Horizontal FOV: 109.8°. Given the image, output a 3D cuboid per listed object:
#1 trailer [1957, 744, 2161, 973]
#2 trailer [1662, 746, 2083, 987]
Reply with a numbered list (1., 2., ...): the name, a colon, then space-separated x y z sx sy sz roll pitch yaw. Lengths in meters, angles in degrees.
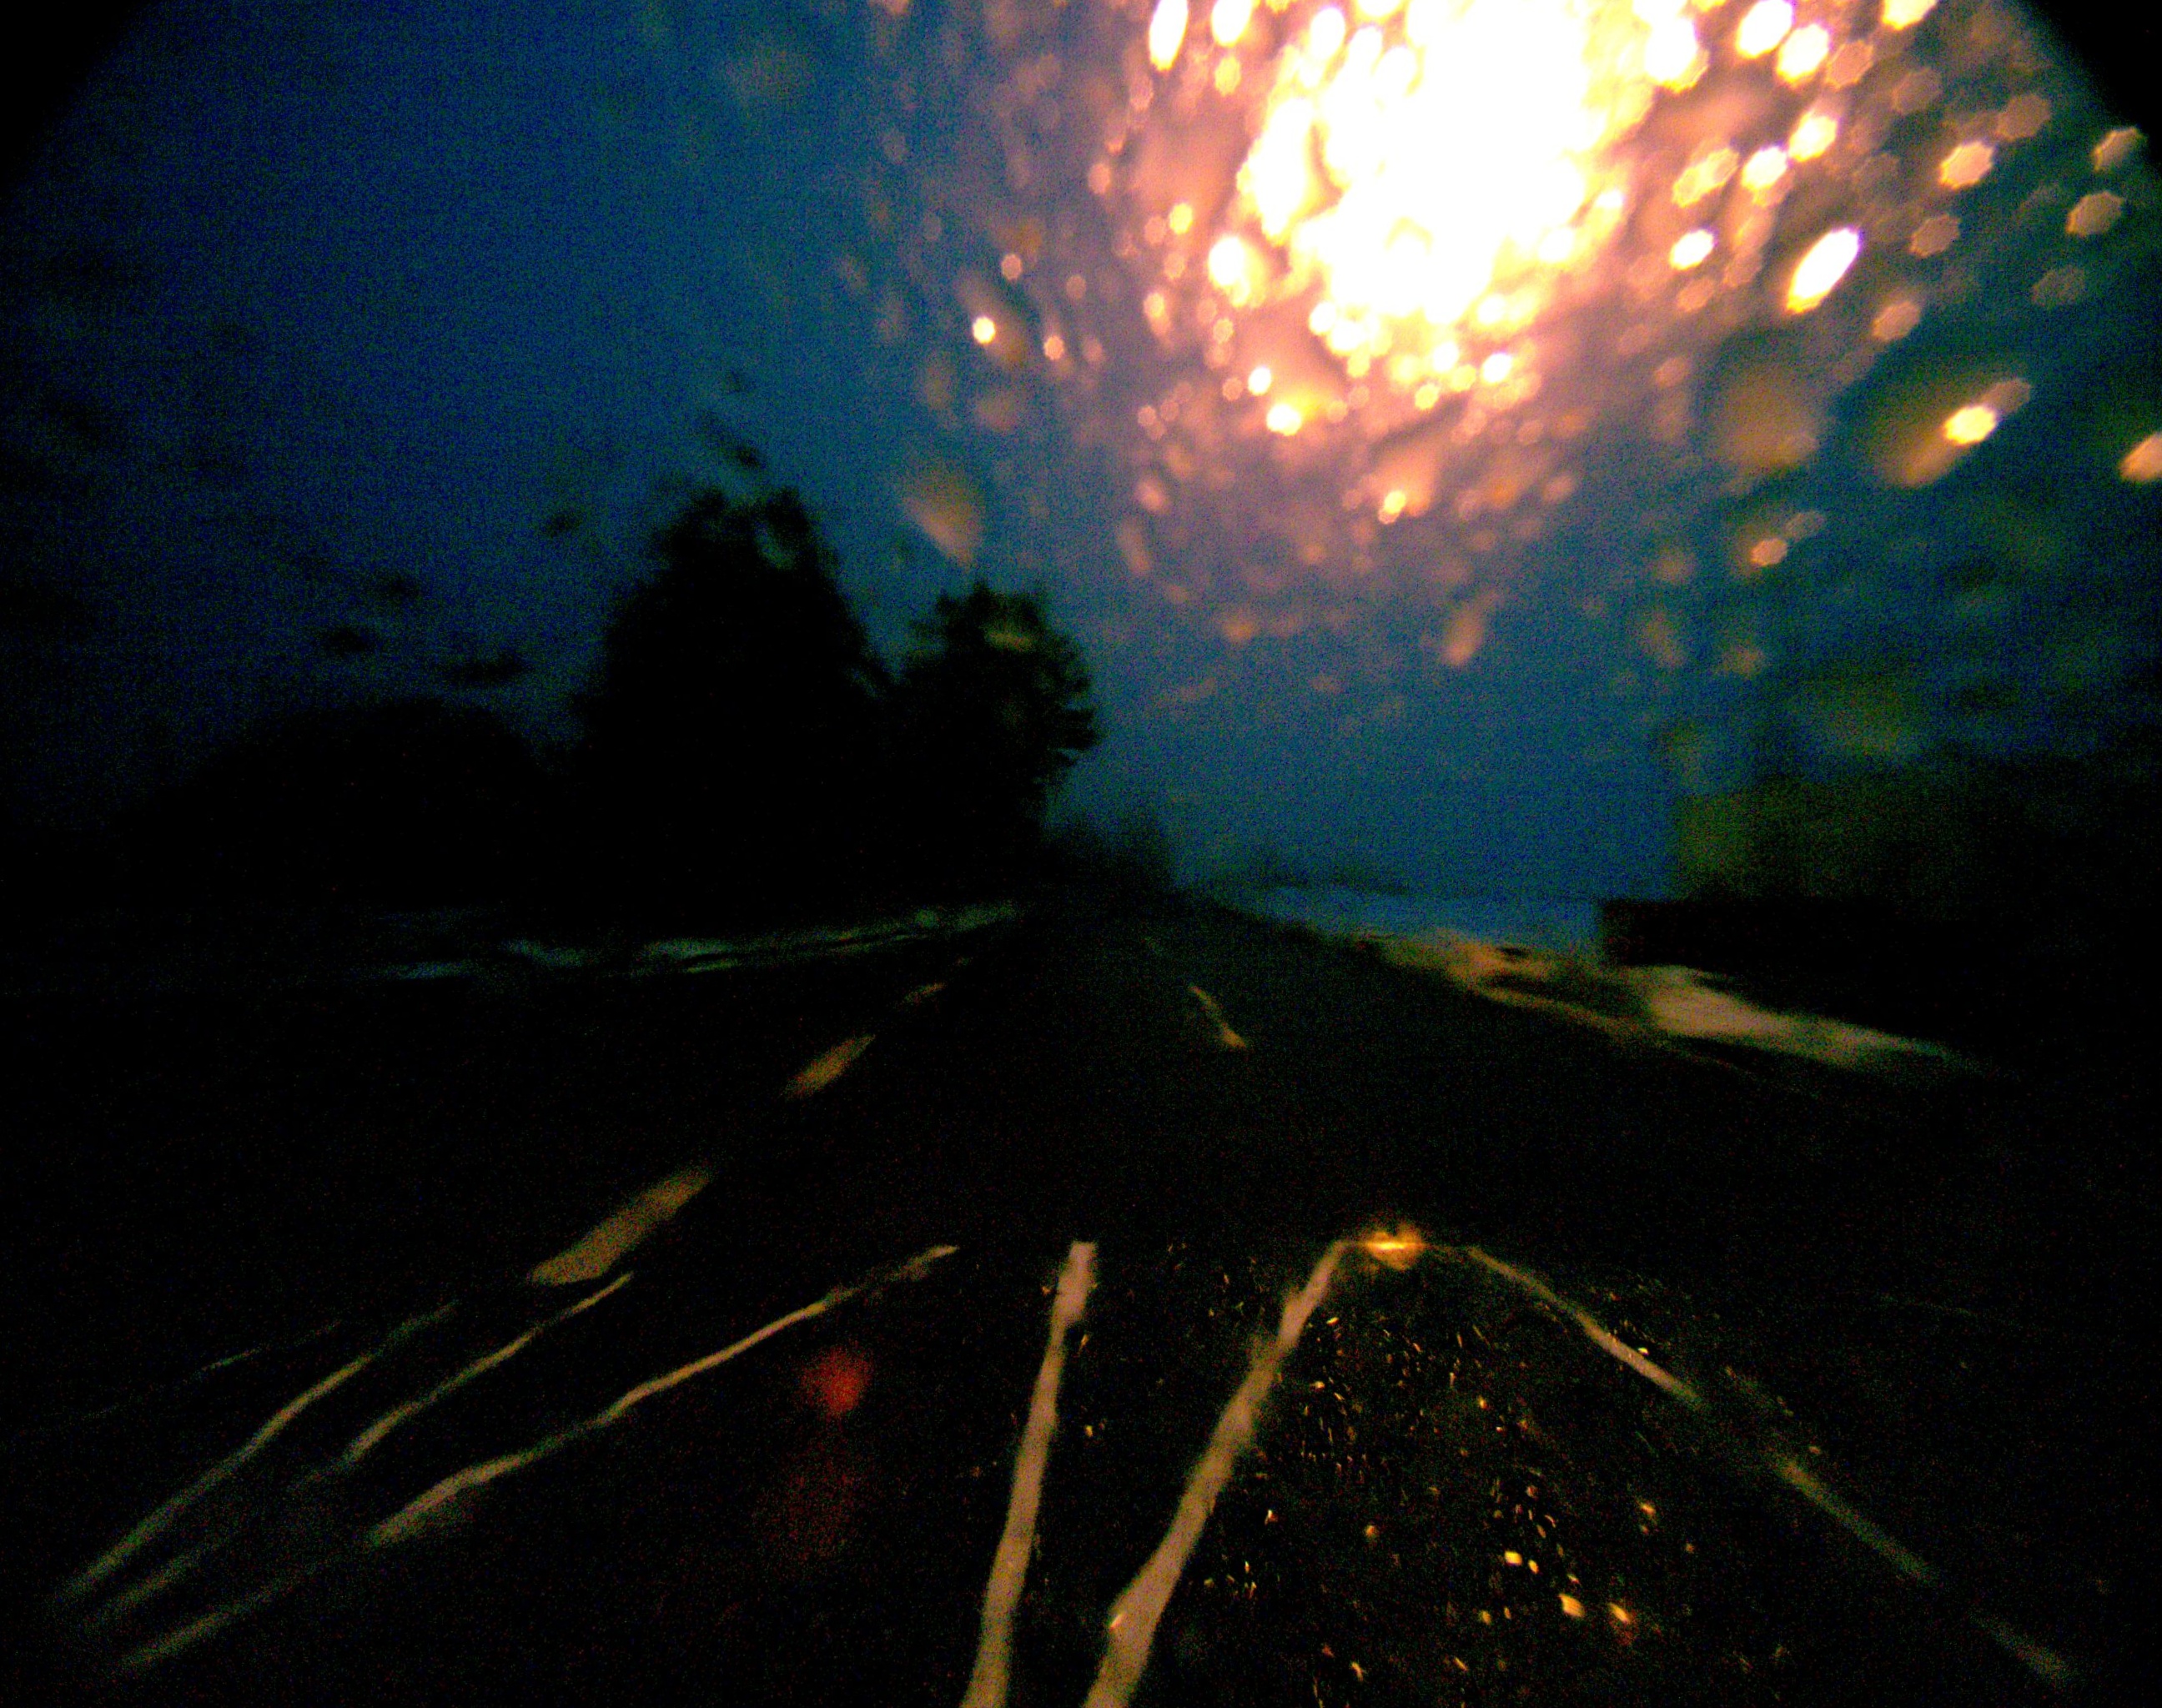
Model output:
1. trailer: 12.711 0.078 8.294 1.997 2.474 4.014 2 -1 9
2. trailer: 10.124 0.182 10.072 1.697 2.589 3.439 2 -1 -18
